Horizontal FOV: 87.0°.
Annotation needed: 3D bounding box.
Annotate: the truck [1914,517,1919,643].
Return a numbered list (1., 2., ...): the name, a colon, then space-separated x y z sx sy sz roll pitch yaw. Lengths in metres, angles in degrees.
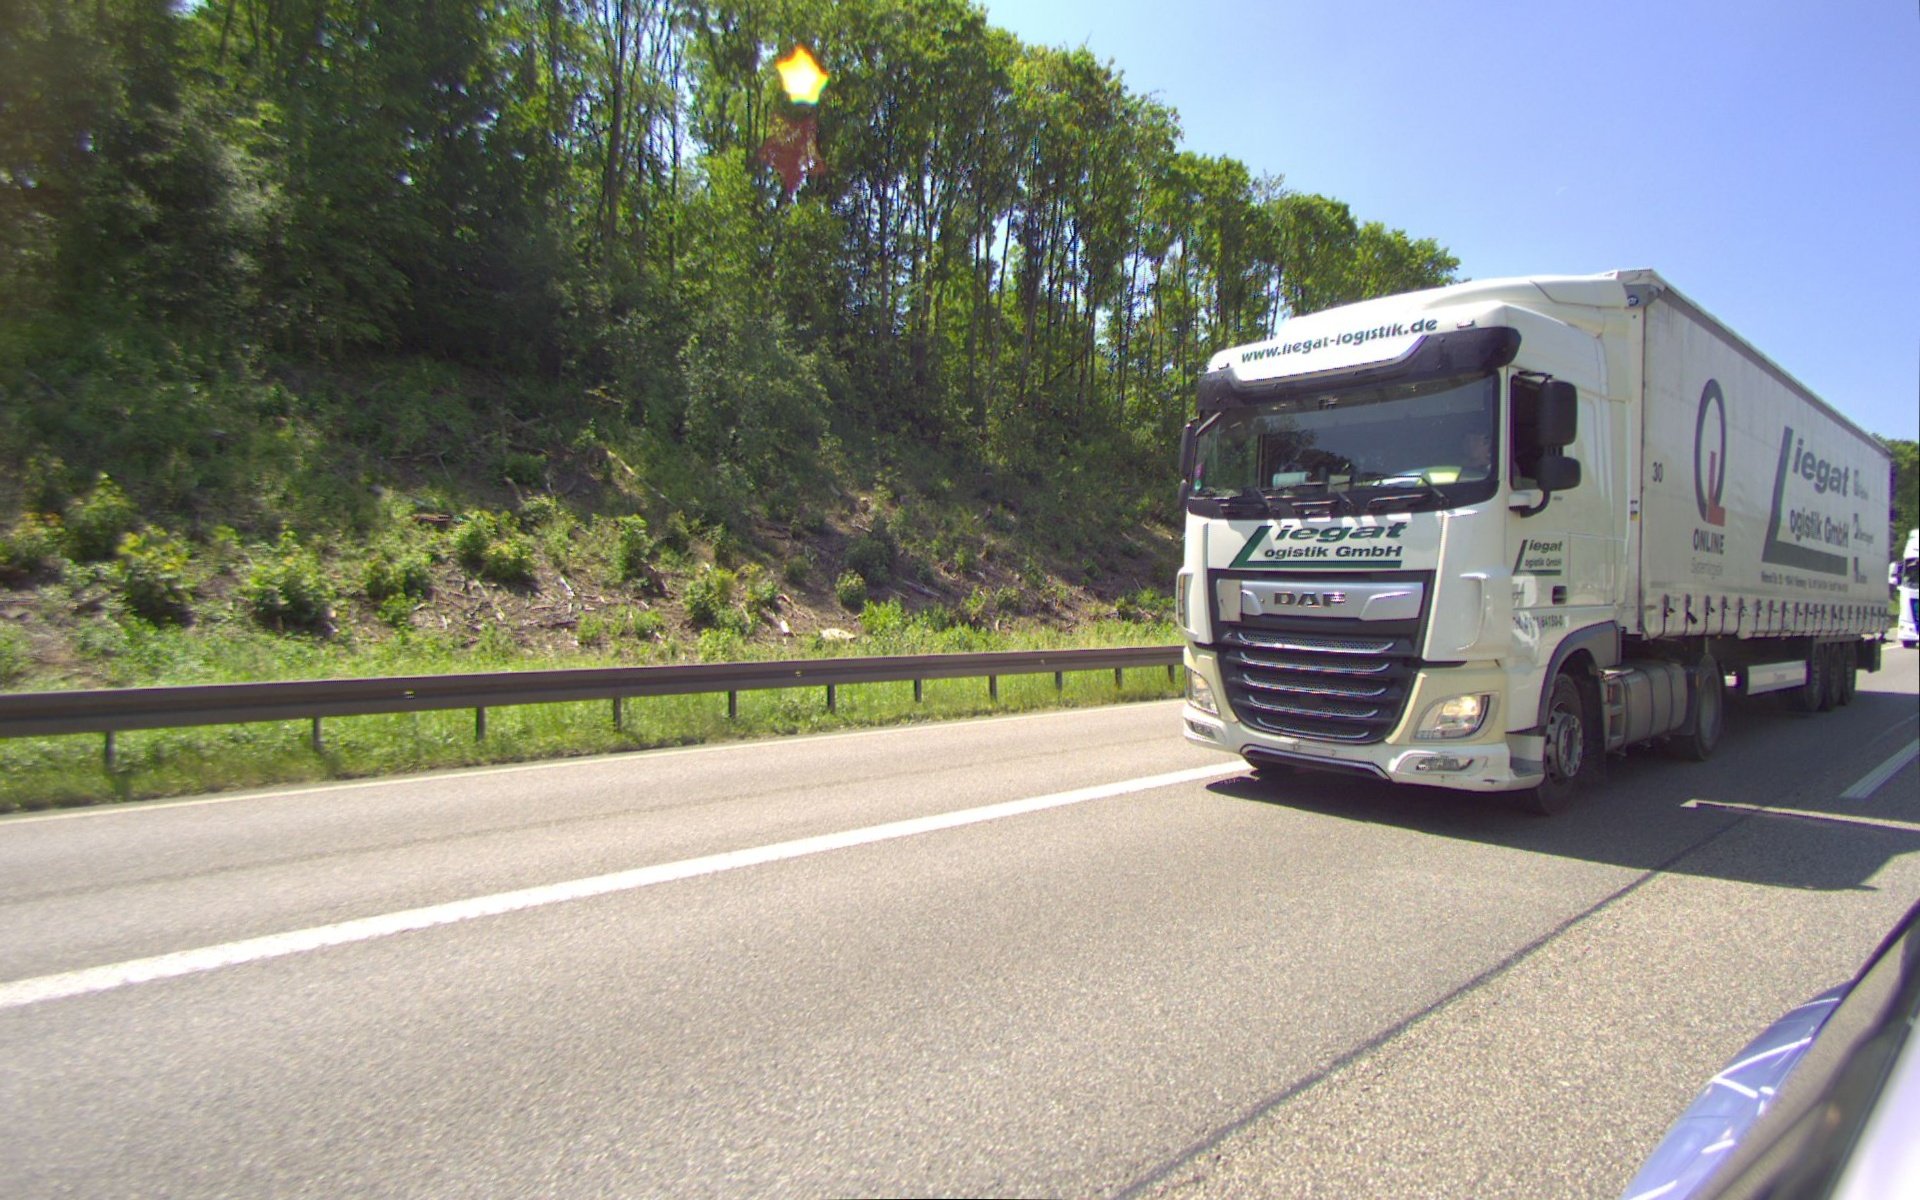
1. truck: 34.231 -0.687 33.990 6.509 4.079 2.540 -1 1 -41

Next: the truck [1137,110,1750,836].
1. truck: 4.496 -0.731 8.882 5.766 4.258 2.790 1 -1 -41

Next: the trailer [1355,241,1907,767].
1. trailer: 9.830 -0.723 13.512 13.010 4.258 2.790 1 -1 -41
